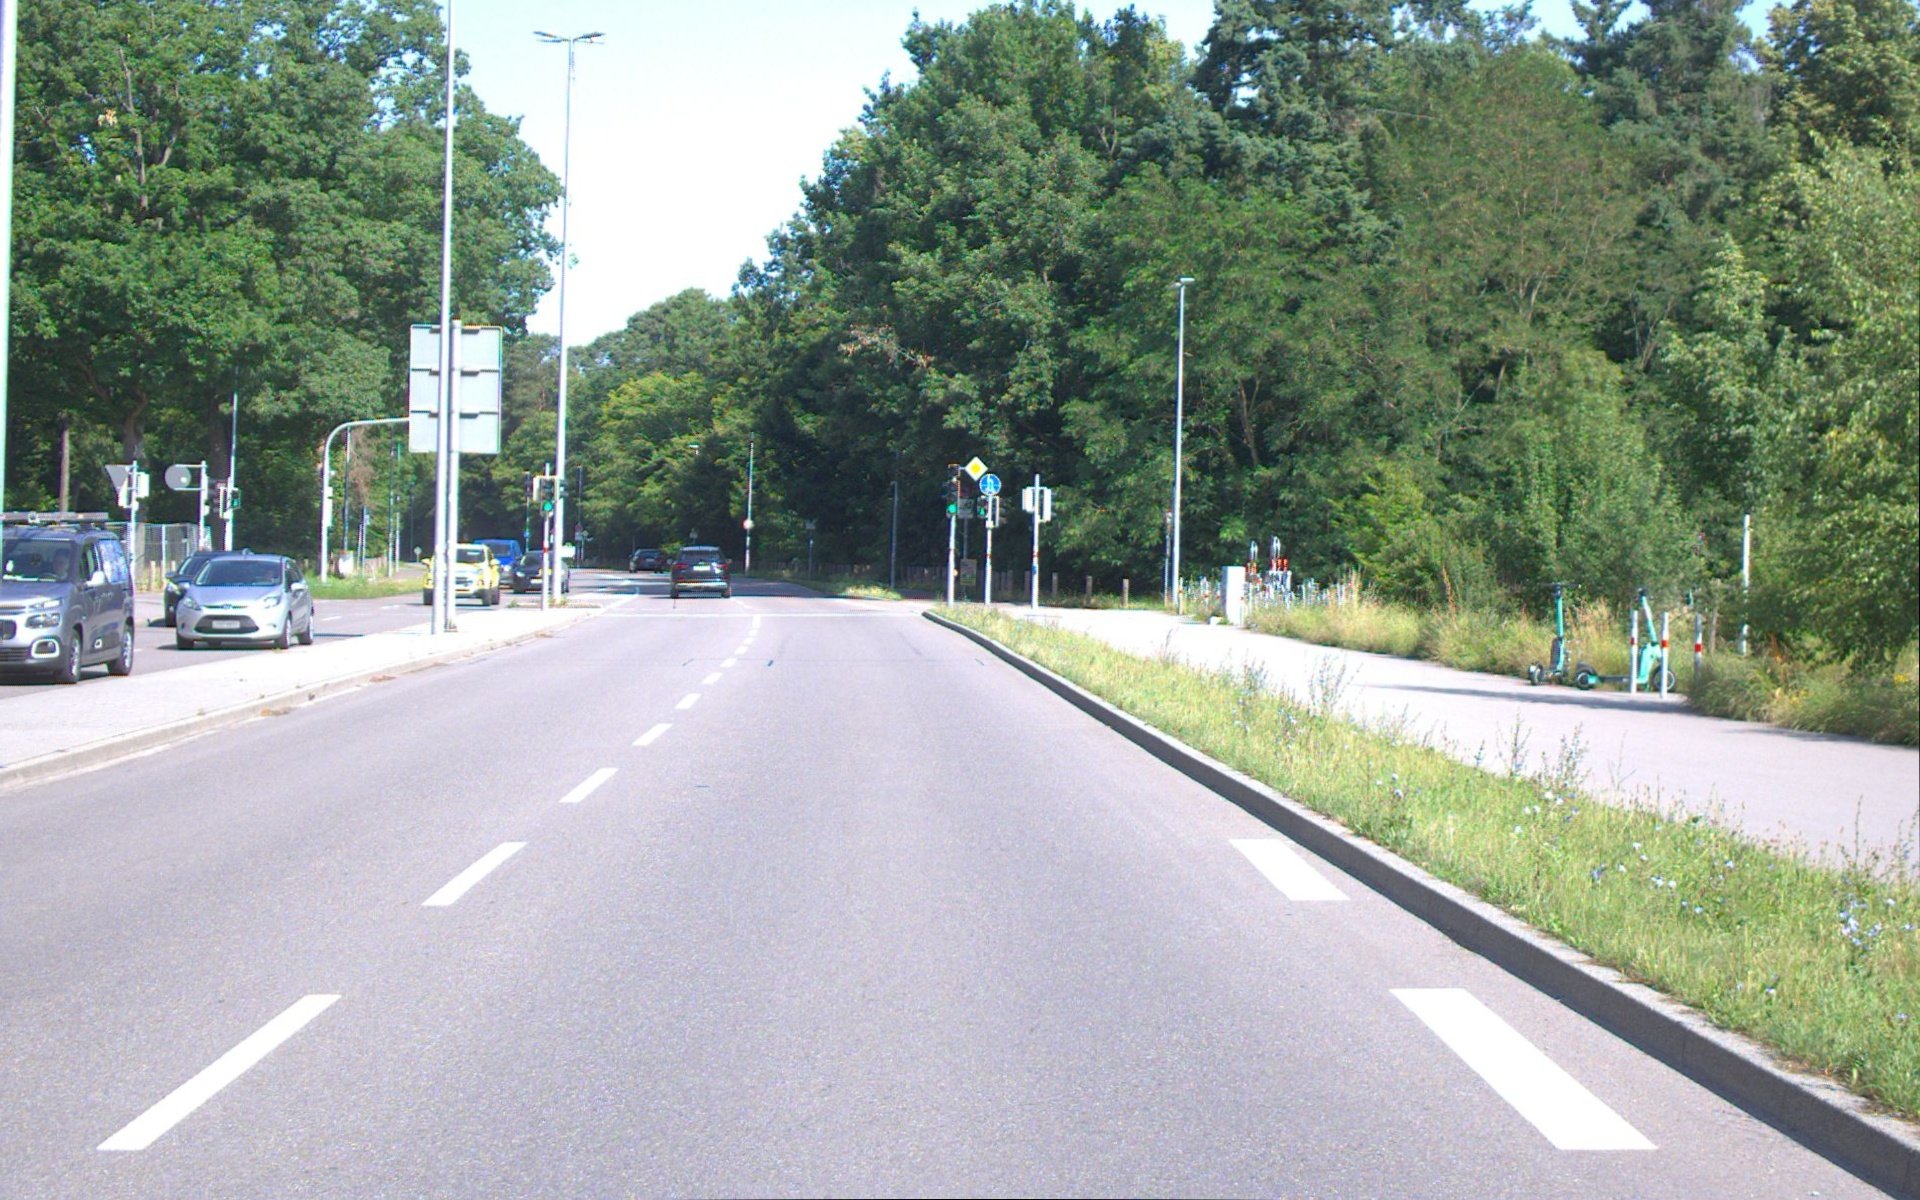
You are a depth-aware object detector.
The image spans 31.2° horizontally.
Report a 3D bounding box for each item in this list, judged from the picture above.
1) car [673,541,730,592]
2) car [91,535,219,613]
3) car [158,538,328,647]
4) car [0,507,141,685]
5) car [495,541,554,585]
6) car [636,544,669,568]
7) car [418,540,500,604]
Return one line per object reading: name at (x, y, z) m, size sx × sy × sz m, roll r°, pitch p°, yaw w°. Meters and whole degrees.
car at (-7.971, -1.046, 105.754) m, size 1.687 × 1.539 × 4.149 m, roll 0°, pitch 1°, yaw -5°
car at (-16.115, -0.535, 68.986) m, size 1.794 × 1.473 × 4.001 m, roll 2°, pitch 1°, yaw -3°
car at (-11.122, -0.150, 53.554) m, size 1.909 × 1.579 × 4.000 m, roll 2°, pitch 1°, yaw -2°
car at (-10.798, -0.080, 39.622) m, size 1.841 × 1.925 × 4.630 m, roll 0°, pitch 1°, yaw -3°
car at (-15.166, -1.301, 119.843) m, size 1.819 × 1.459 × 4.001 m, roll 2°, pitch 1°, yaw -4°
car at (-18.793, -2.694, 209.685) m, size 1.940 × 1.415 × 4.294 m, roll 1°, pitch 1°, yaw -6°
car at (-13.250, -0.755, 91.089) m, size 1.846 × 1.612 × 4.001 m, roll 2°, pitch 1°, yaw -4°
